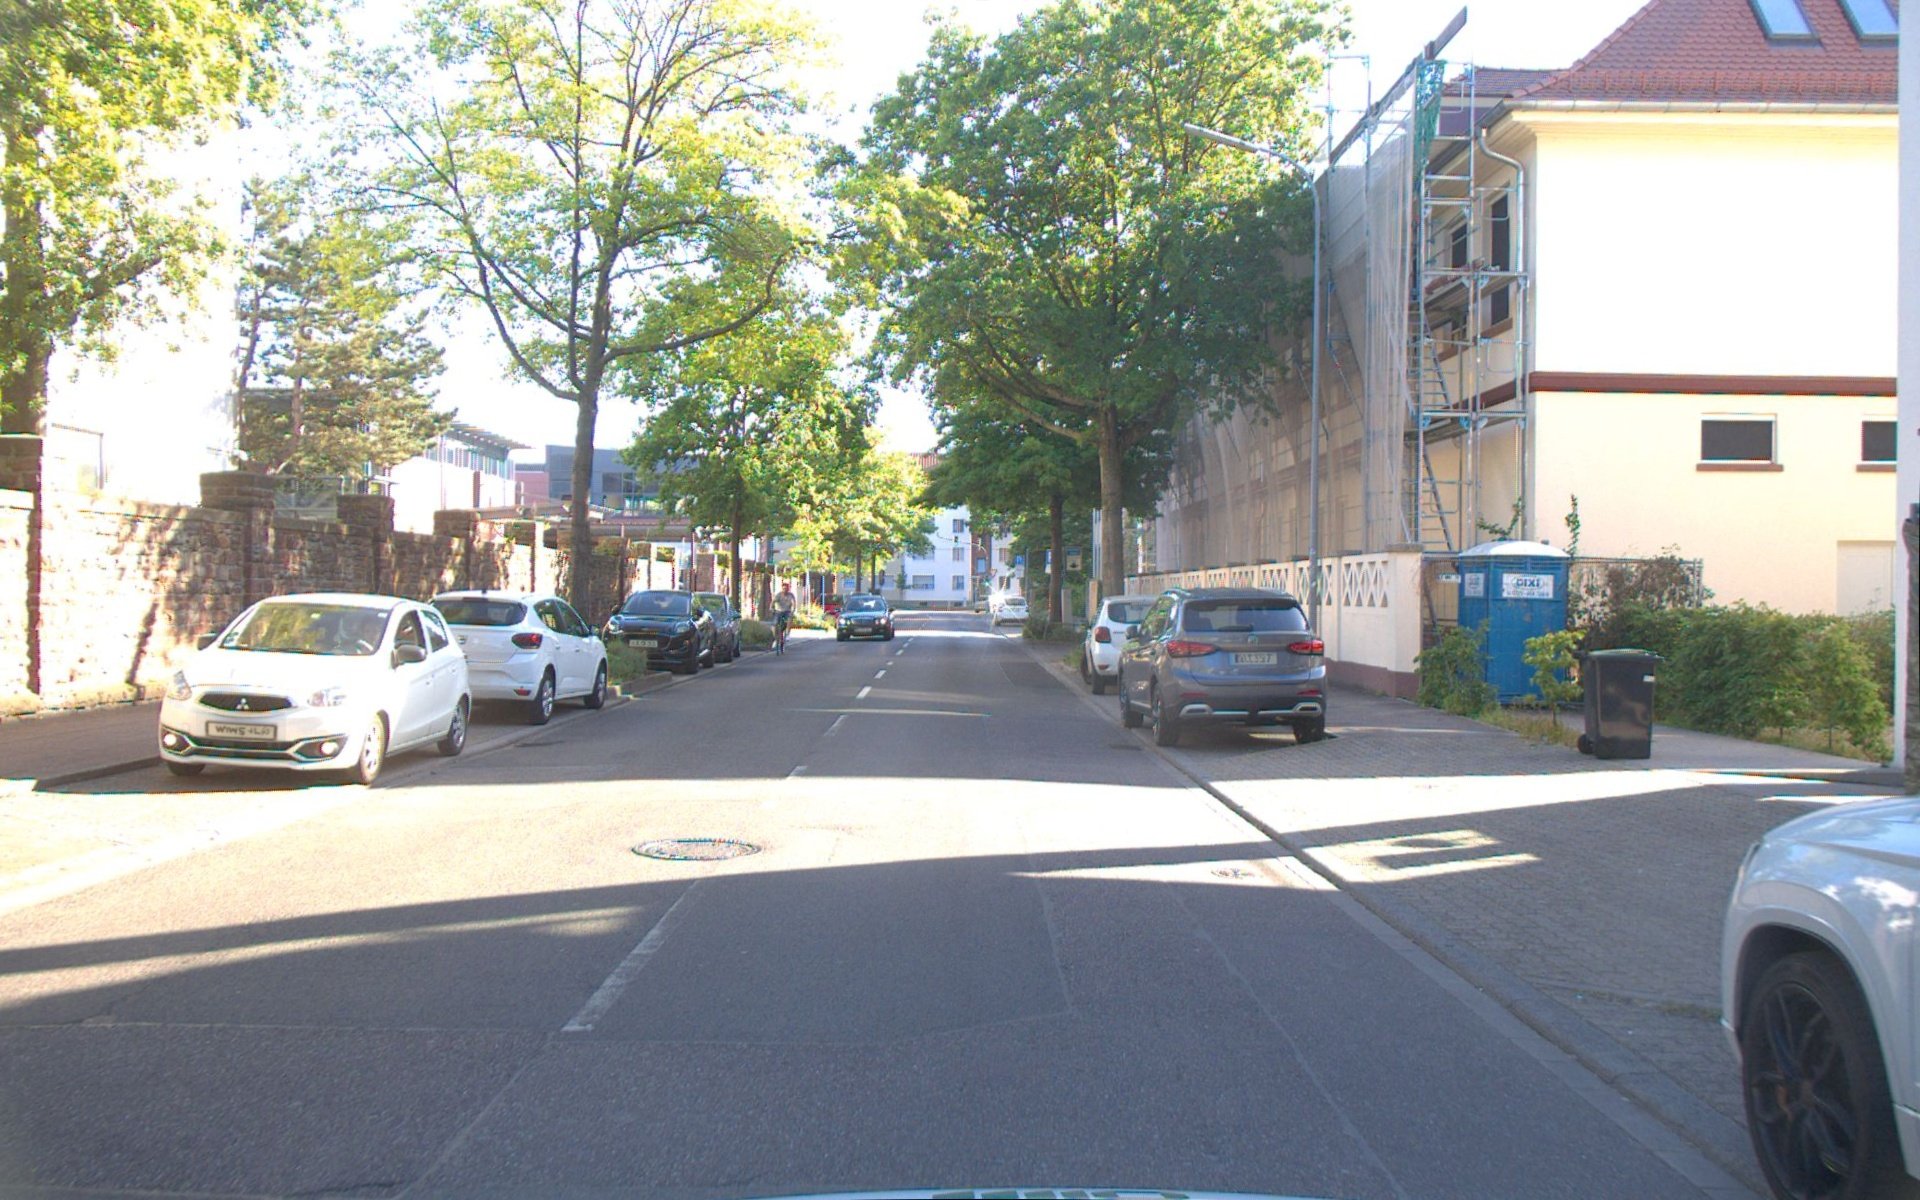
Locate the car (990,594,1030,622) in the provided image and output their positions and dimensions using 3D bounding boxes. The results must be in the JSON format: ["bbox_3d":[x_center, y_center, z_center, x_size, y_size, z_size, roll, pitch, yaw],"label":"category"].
[{"bbox_3d":[2.515,0.401,83.728,1.795,1.346,4.495,-1,0,-1],"label":"car"}]

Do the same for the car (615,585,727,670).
[{"bbox_3d":[-5.560,0.489,32.247,1.542,1.541,4.044,1,0,-1],"label":"car"}]

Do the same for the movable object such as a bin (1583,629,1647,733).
[{"bbox_3d":[6.447,0.789,16.282,0.425,0.980,0.511,2,0,4],"label":"movable object such as a bin"}]

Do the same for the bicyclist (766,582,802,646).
[{"bbox_3d":[-4.323,0.340,40.747,0.706,1.549,1.005,2,0,2],"label":"bicyclist"}]

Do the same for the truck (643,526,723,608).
[{"bbox_3d":[-13.601,-1.593,81.817,2.677,3.776,7.427,2,0,-1],"label":"truck"}]

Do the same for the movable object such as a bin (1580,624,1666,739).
[{"bbox_3d":[6.287,0.765,15.697,0.585,1.045,0.564,2,0,3],"label":"movable object such as a bin"}]

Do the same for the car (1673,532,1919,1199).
[{"bbox_3d":[2.989,0.702,2.683,1.756,1.644,4.125,1,1,-2],"label":"car"}]

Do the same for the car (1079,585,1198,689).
[{"bbox_3d":[2.877,0.546,27.361,1.688,1.536,3.993,-1,1,3],"label":"car"}]

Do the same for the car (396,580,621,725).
[{"bbox_3d":[-5.463,0.574,20.473,1.642,1.537,3.849,3,1,0],"label":"car"}]

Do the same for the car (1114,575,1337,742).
[{"bbox_3d":[2.854,0.559,18.670,1.678,1.667,4.301,0,1,-2],"label":"car"}]

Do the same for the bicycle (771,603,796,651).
[{"bbox_3d":[-4.341,0.657,40.753,0.350,1.140,1.866,2,0,1],"label":"bicycle"}]

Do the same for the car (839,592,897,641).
[{"bbox_3d":[-3.026,0.522,55.147,1.785,1.461,3.968,2,1,-2],"label":"car"}]

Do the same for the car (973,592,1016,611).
[{"bbox_3d":[2.940,0.148,141.182,3.349,1.468,1.640,2,0,-11],"label":"car"}]

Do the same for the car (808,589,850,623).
[{"bbox_3d":[-5.992,0.264,76.091,1.576,1.484,3.708,2,0,0],"label":"car"}]

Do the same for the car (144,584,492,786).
[{"bbox_3d":[-5.370,0.624,14.341,1.542,1.426,3.750,3,0,-1],"label":"car"}]
